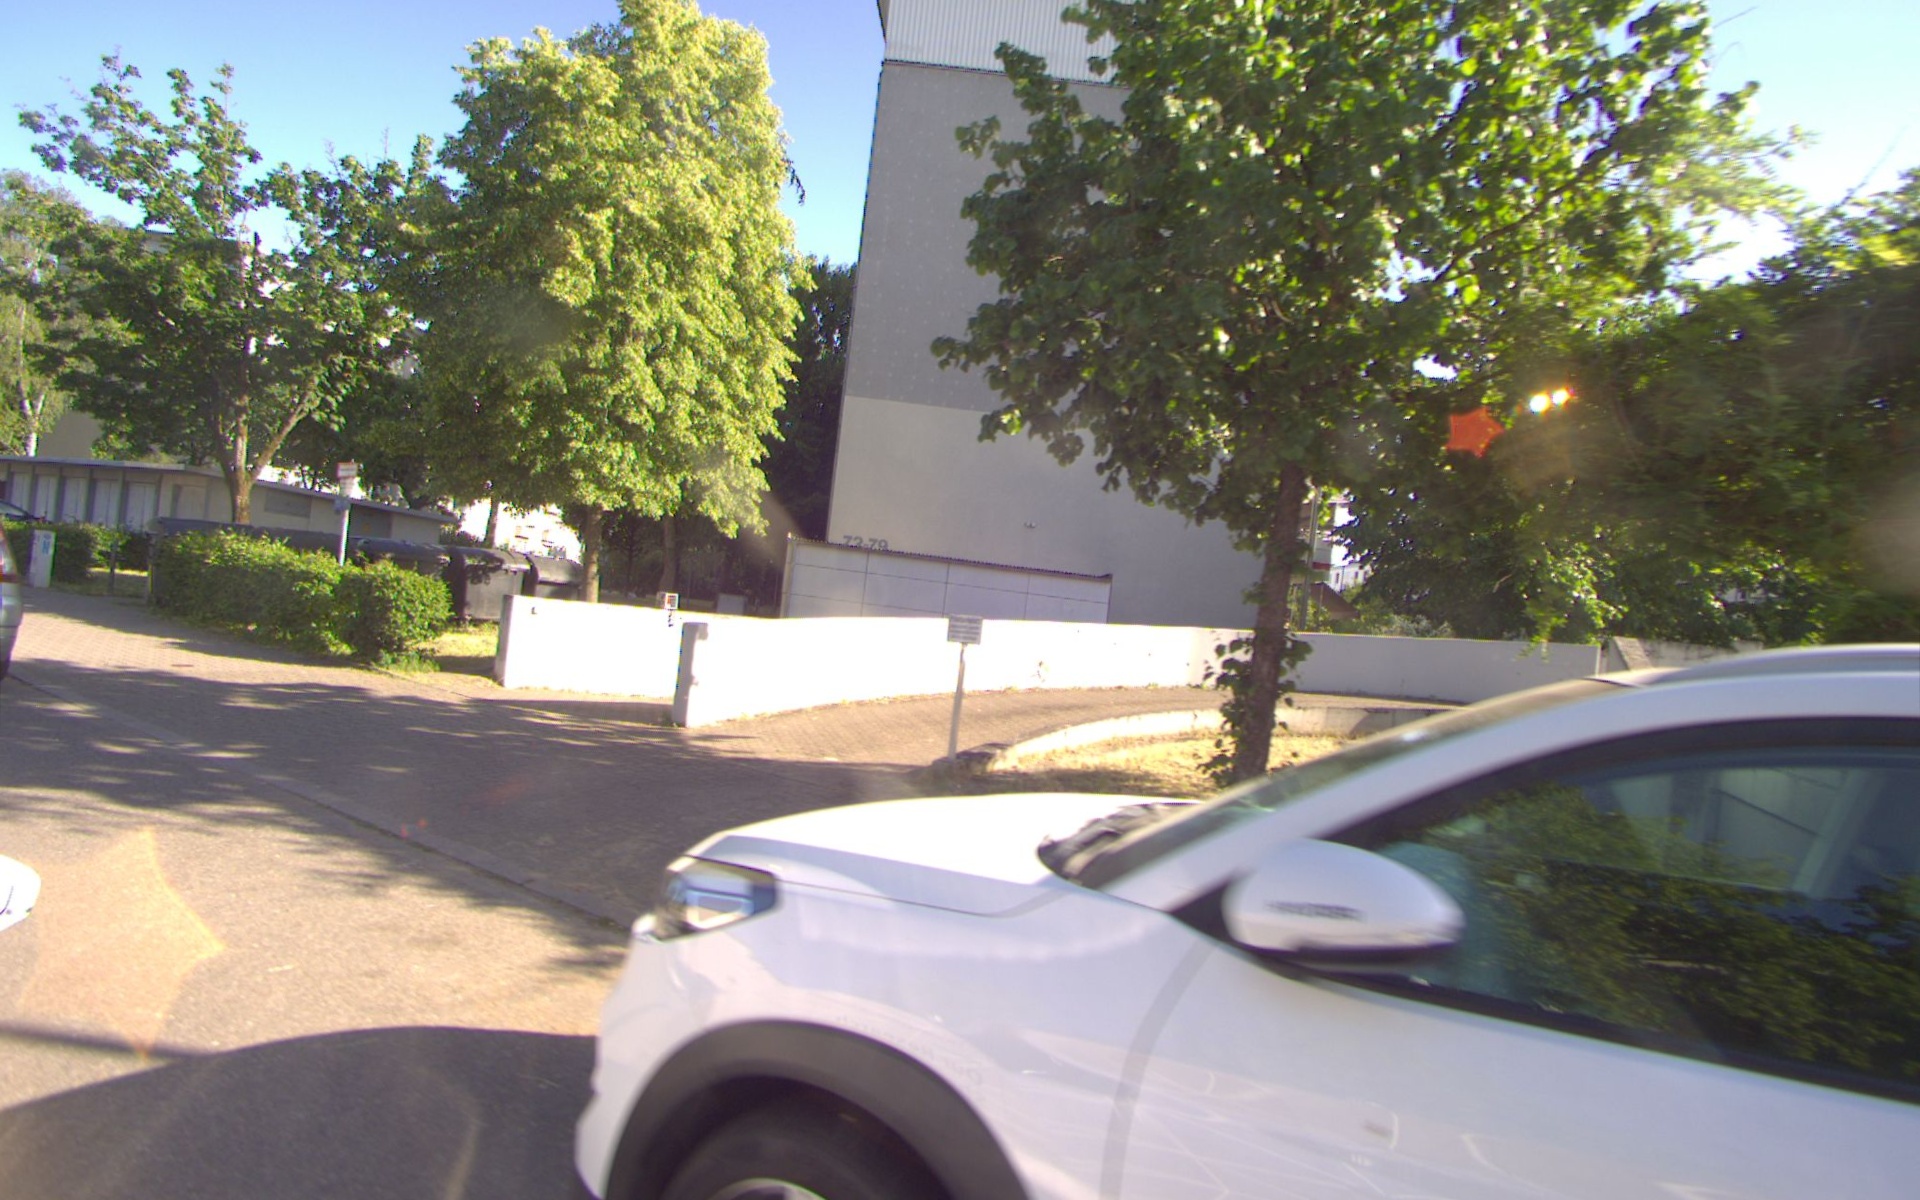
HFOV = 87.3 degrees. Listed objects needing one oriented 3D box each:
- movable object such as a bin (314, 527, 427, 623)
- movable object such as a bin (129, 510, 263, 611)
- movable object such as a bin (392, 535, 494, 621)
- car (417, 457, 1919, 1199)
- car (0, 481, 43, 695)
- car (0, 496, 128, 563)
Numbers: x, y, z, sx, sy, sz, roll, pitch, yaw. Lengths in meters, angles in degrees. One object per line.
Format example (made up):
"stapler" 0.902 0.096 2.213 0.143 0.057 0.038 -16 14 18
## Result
"movable object such as a bin" -10.872 -0.446 18.576 1.011 1.555 1.328 7 -1 27
"movable object such as a bin" -12.181 -0.611 16.069 1.051 1.447 1.326 7 2 27
"movable object such as a bin" -10.252 -0.418 19.987 1.011 1.499 1.325 7 -1 27
"car" 1.331 0.859 1.589 4.338 1.694 1.758 7 -1 30
"car" -9.621 -0.352 8.462 4.424 1.646 1.756 6 -1 35
"car" -26.725 -2.115 28.690 1.787 1.512 4.191 7 -1 30
